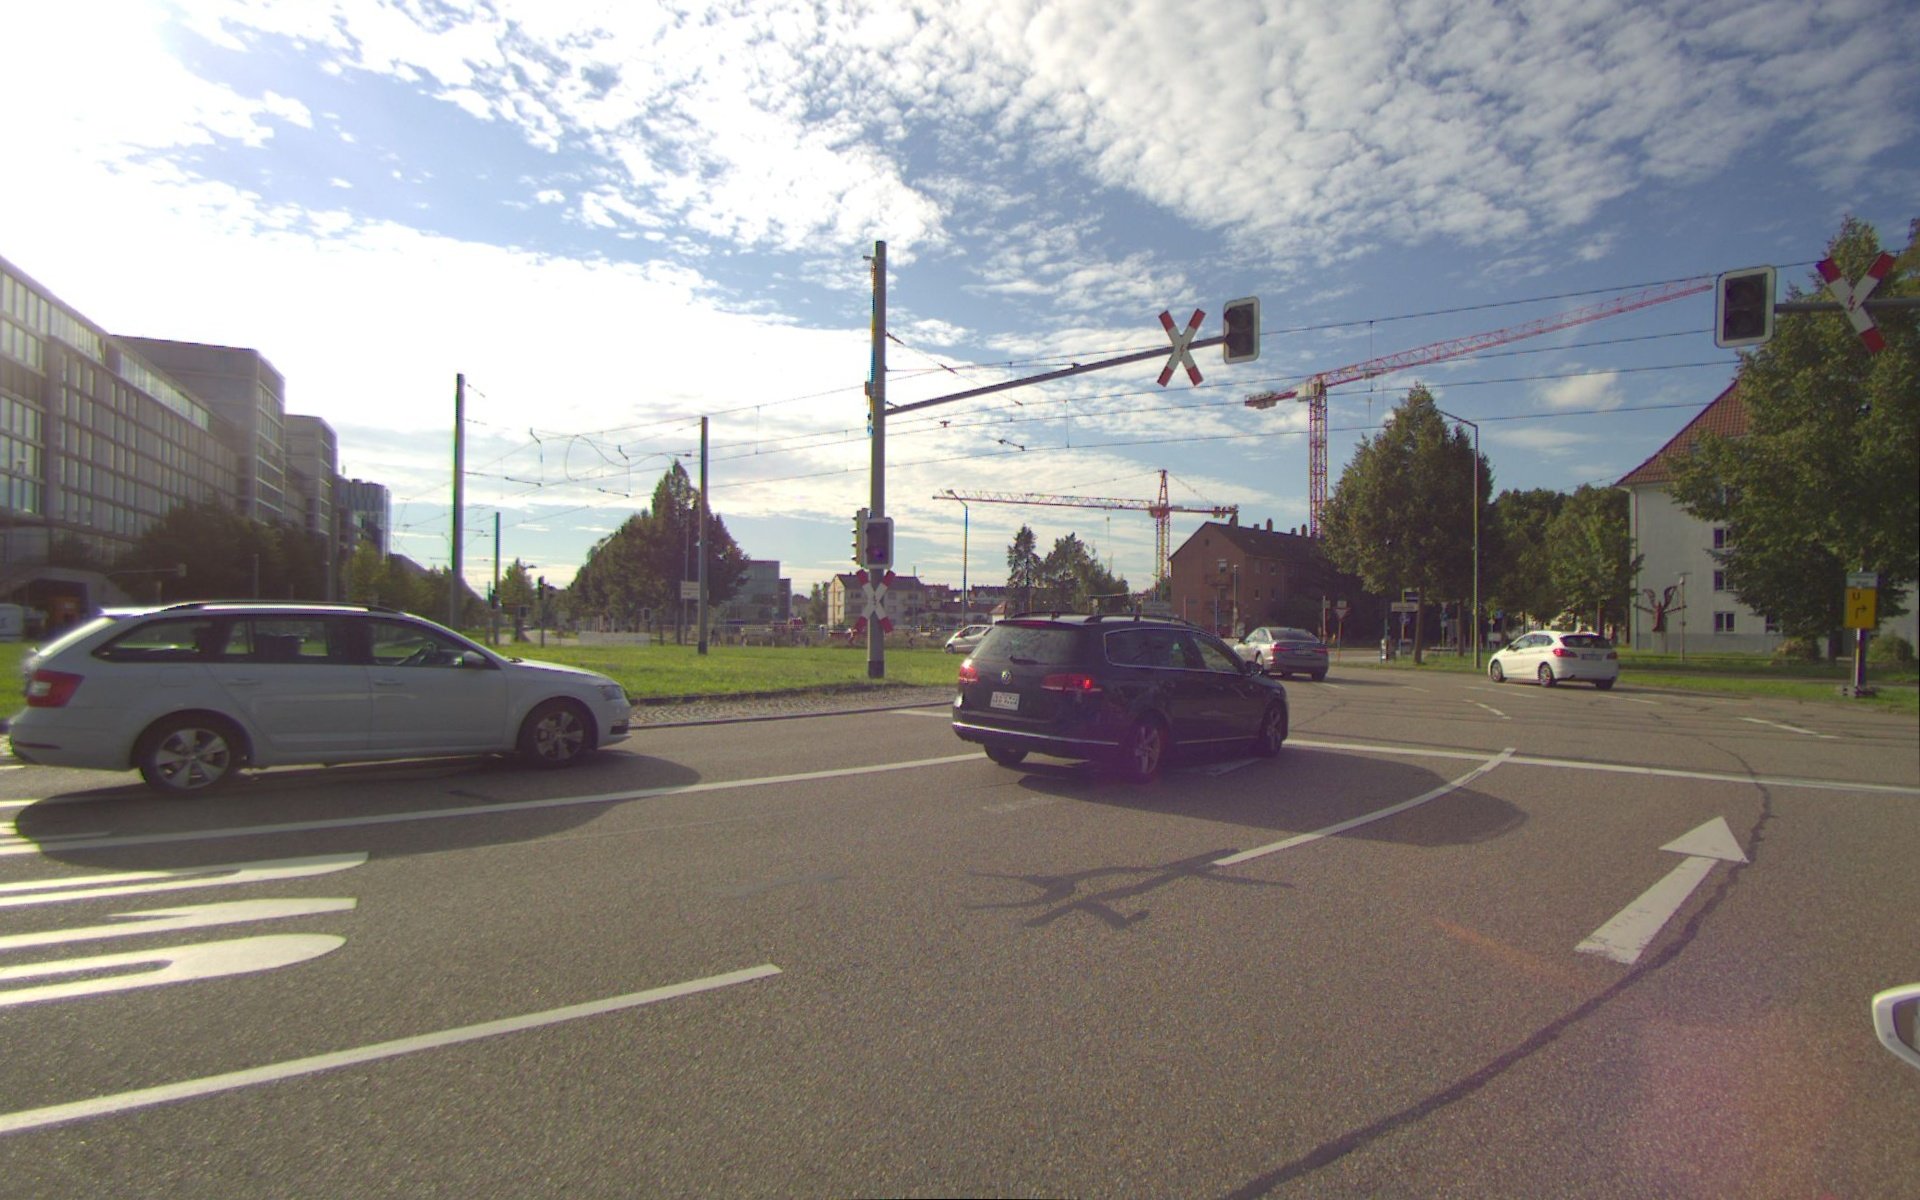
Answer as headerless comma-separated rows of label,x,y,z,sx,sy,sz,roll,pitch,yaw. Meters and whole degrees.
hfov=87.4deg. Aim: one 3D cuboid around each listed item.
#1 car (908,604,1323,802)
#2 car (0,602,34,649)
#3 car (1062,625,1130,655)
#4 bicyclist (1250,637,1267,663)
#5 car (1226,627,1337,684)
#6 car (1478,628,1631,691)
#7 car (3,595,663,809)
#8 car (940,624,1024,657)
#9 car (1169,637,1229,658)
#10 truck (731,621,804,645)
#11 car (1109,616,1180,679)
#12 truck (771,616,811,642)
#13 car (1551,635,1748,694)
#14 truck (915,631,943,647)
car,1.856,0.868,10.512,1.972,1.587,4.818,0,-1,42
car,-48.810,1.240,48.693,2.024,2.293,6.027,-2,-2,4
car,9.293,2.757,68.403,4.621,1.928,1.881,3,-2,-39
bicyclist,18.411,3.059,62.036,0.940,1.595,0.773,0,-1,12
car,9.374,1.570,29.704,1.820,1.464,4.716,2,-1,1
car,17.082,1.656,29.149,1.820,1.593,4.456,2,-1,1
car,-5.246,0.757,9.019,4.595,1.464,1.837,2,-1,-37
car,1.031,1.985,49.887,1.839,1.497,4.408,3,-2,-37
car,17.750,3.536,74.472,4.497,1.471,1.806,2,-2,-35
truck,-22.018,3.803,114.918,7.756,2.601,3.055,2,-2,-26
car,5.105,1.284,28.220,1.737,1.593,4.070,1,-1,8
truck,-21.778,3.711,128.846,2.783,3.249,7.261,2,-2,-29
car,20.198,1.844,29.543,4.592,1.450,1.893,1,-2,41
truck,-4.561,5.714,148.023,1.956,2.200,5.367,1,-2,-27
